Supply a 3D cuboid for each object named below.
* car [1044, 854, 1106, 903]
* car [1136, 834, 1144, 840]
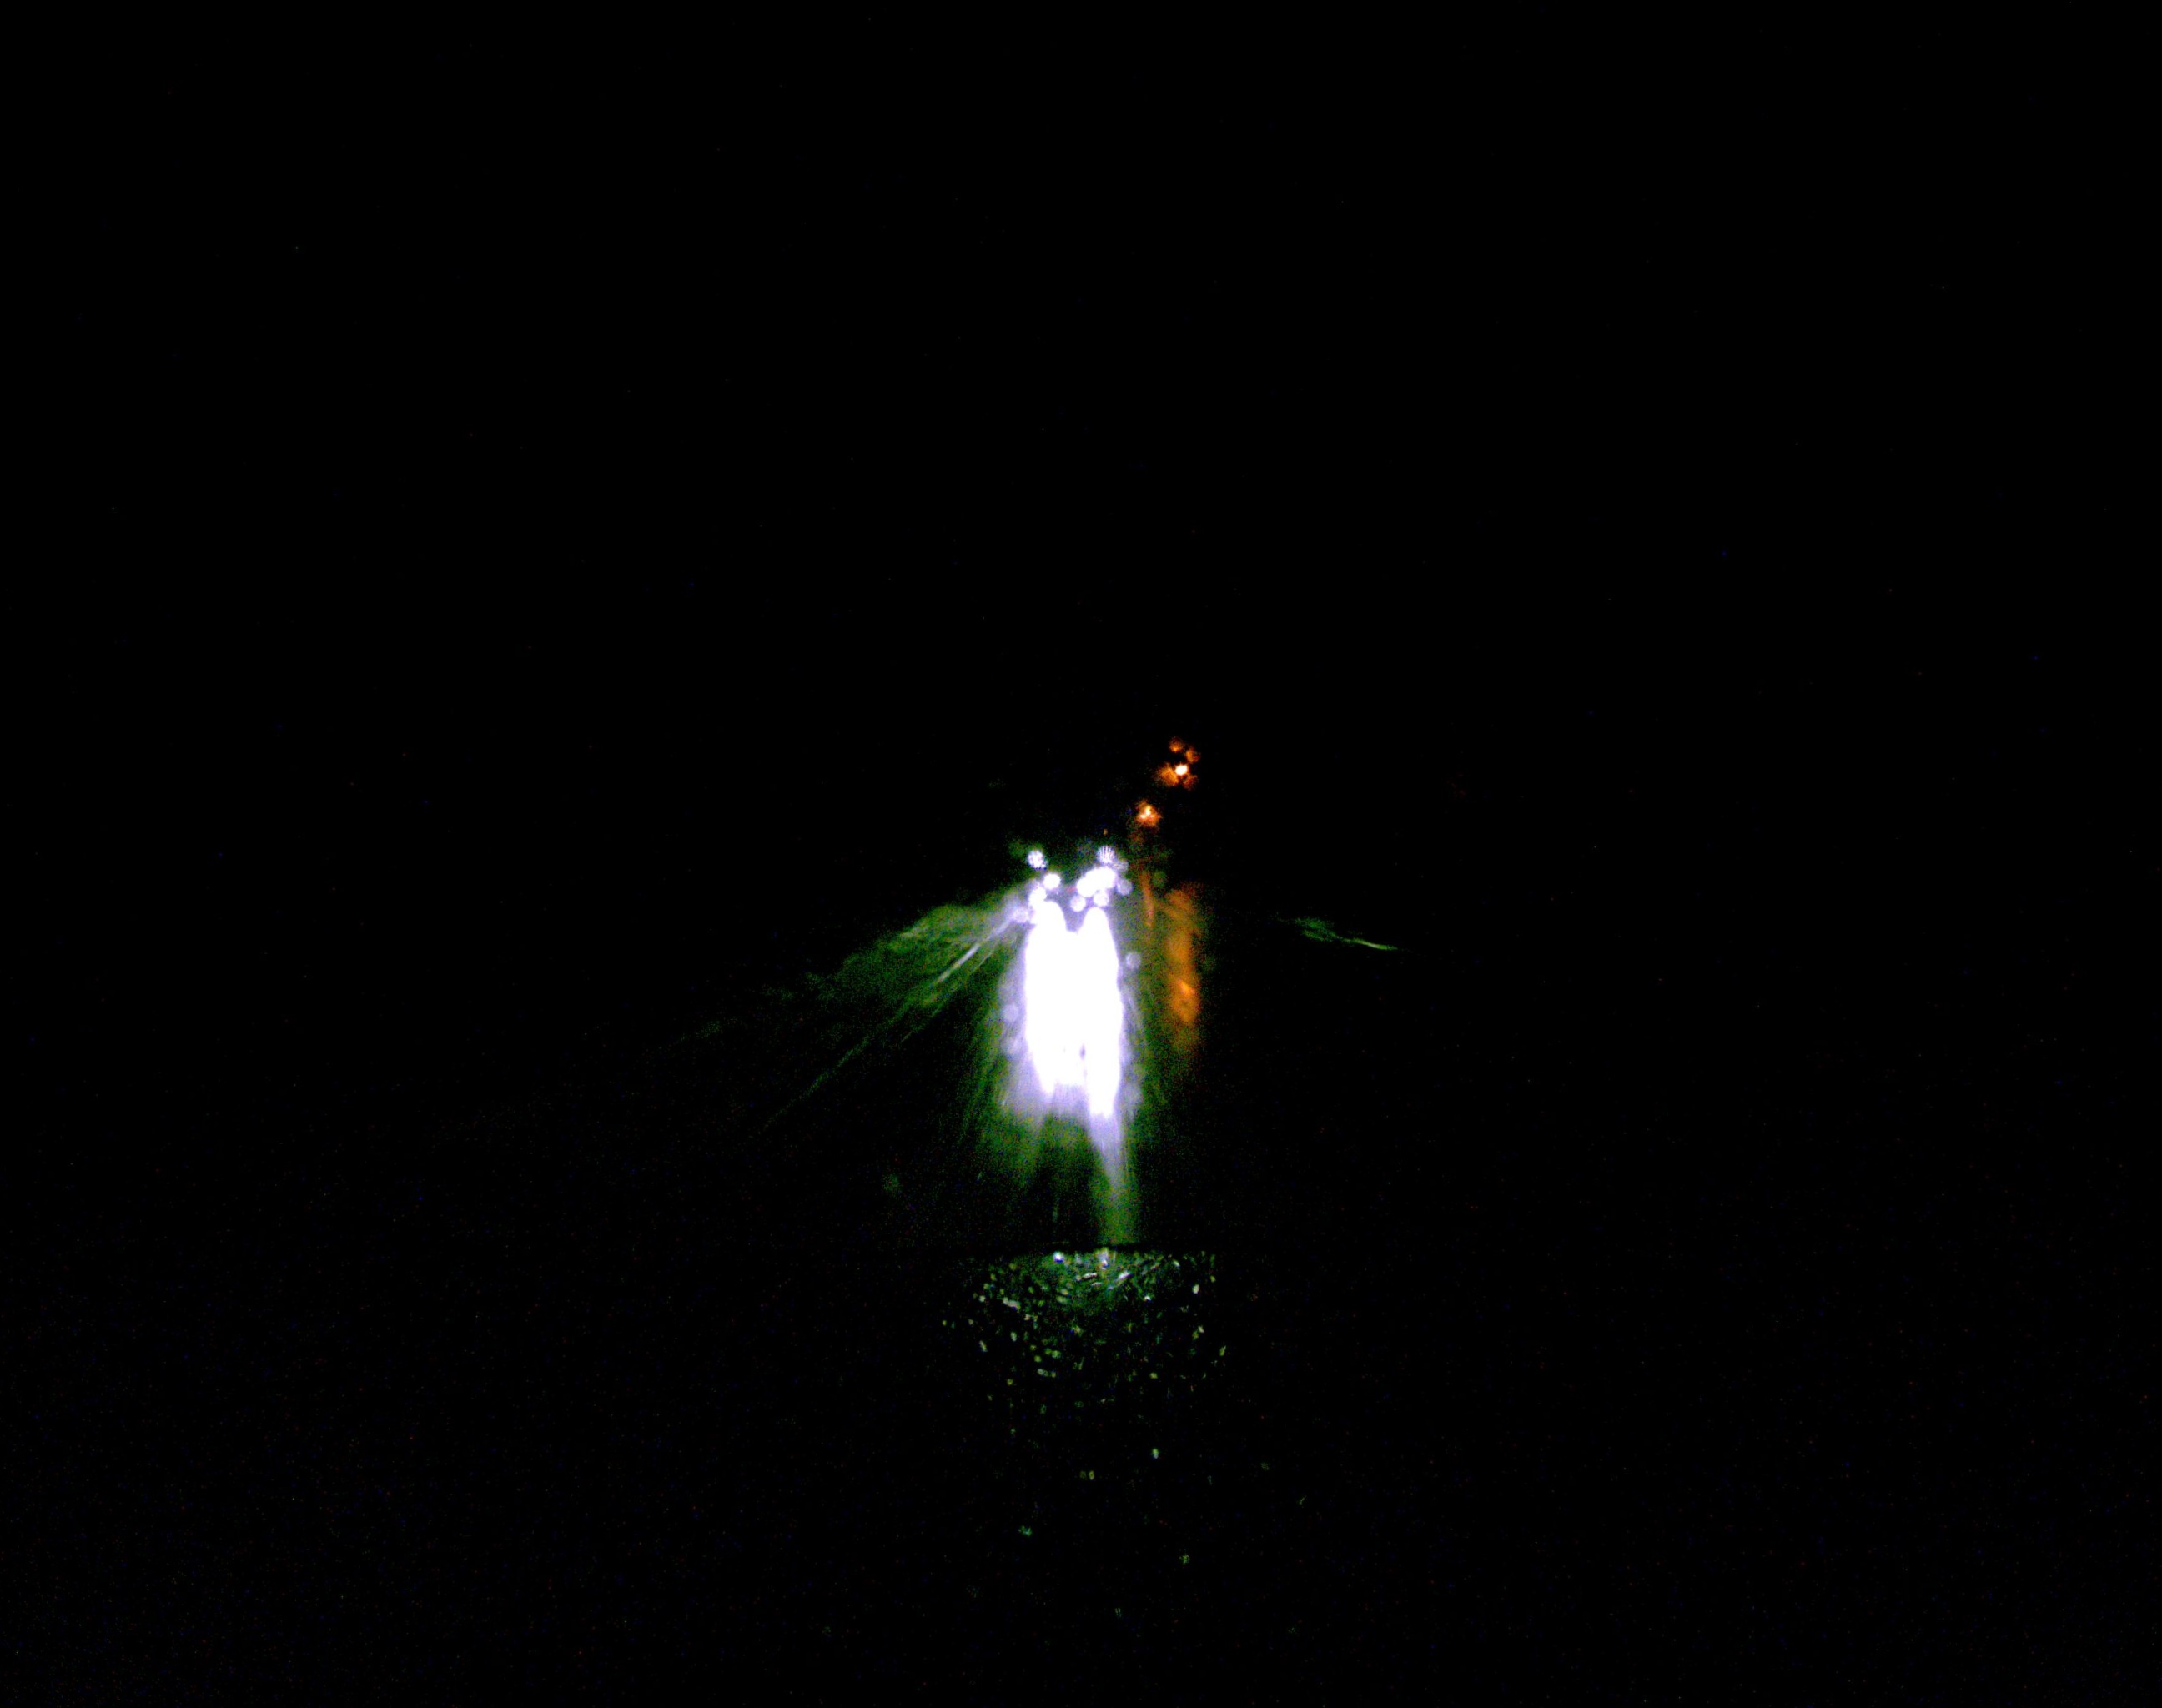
[{"bbox_3d":[-0.131,0.845,27.816,1.944,1.580,4.776,-2,-1,3],"label":"car"},{"bbox_3d":[15.731,-4.526,202.779,1.918,1.467,4.203,-1,2,6],"label":"car"}]
